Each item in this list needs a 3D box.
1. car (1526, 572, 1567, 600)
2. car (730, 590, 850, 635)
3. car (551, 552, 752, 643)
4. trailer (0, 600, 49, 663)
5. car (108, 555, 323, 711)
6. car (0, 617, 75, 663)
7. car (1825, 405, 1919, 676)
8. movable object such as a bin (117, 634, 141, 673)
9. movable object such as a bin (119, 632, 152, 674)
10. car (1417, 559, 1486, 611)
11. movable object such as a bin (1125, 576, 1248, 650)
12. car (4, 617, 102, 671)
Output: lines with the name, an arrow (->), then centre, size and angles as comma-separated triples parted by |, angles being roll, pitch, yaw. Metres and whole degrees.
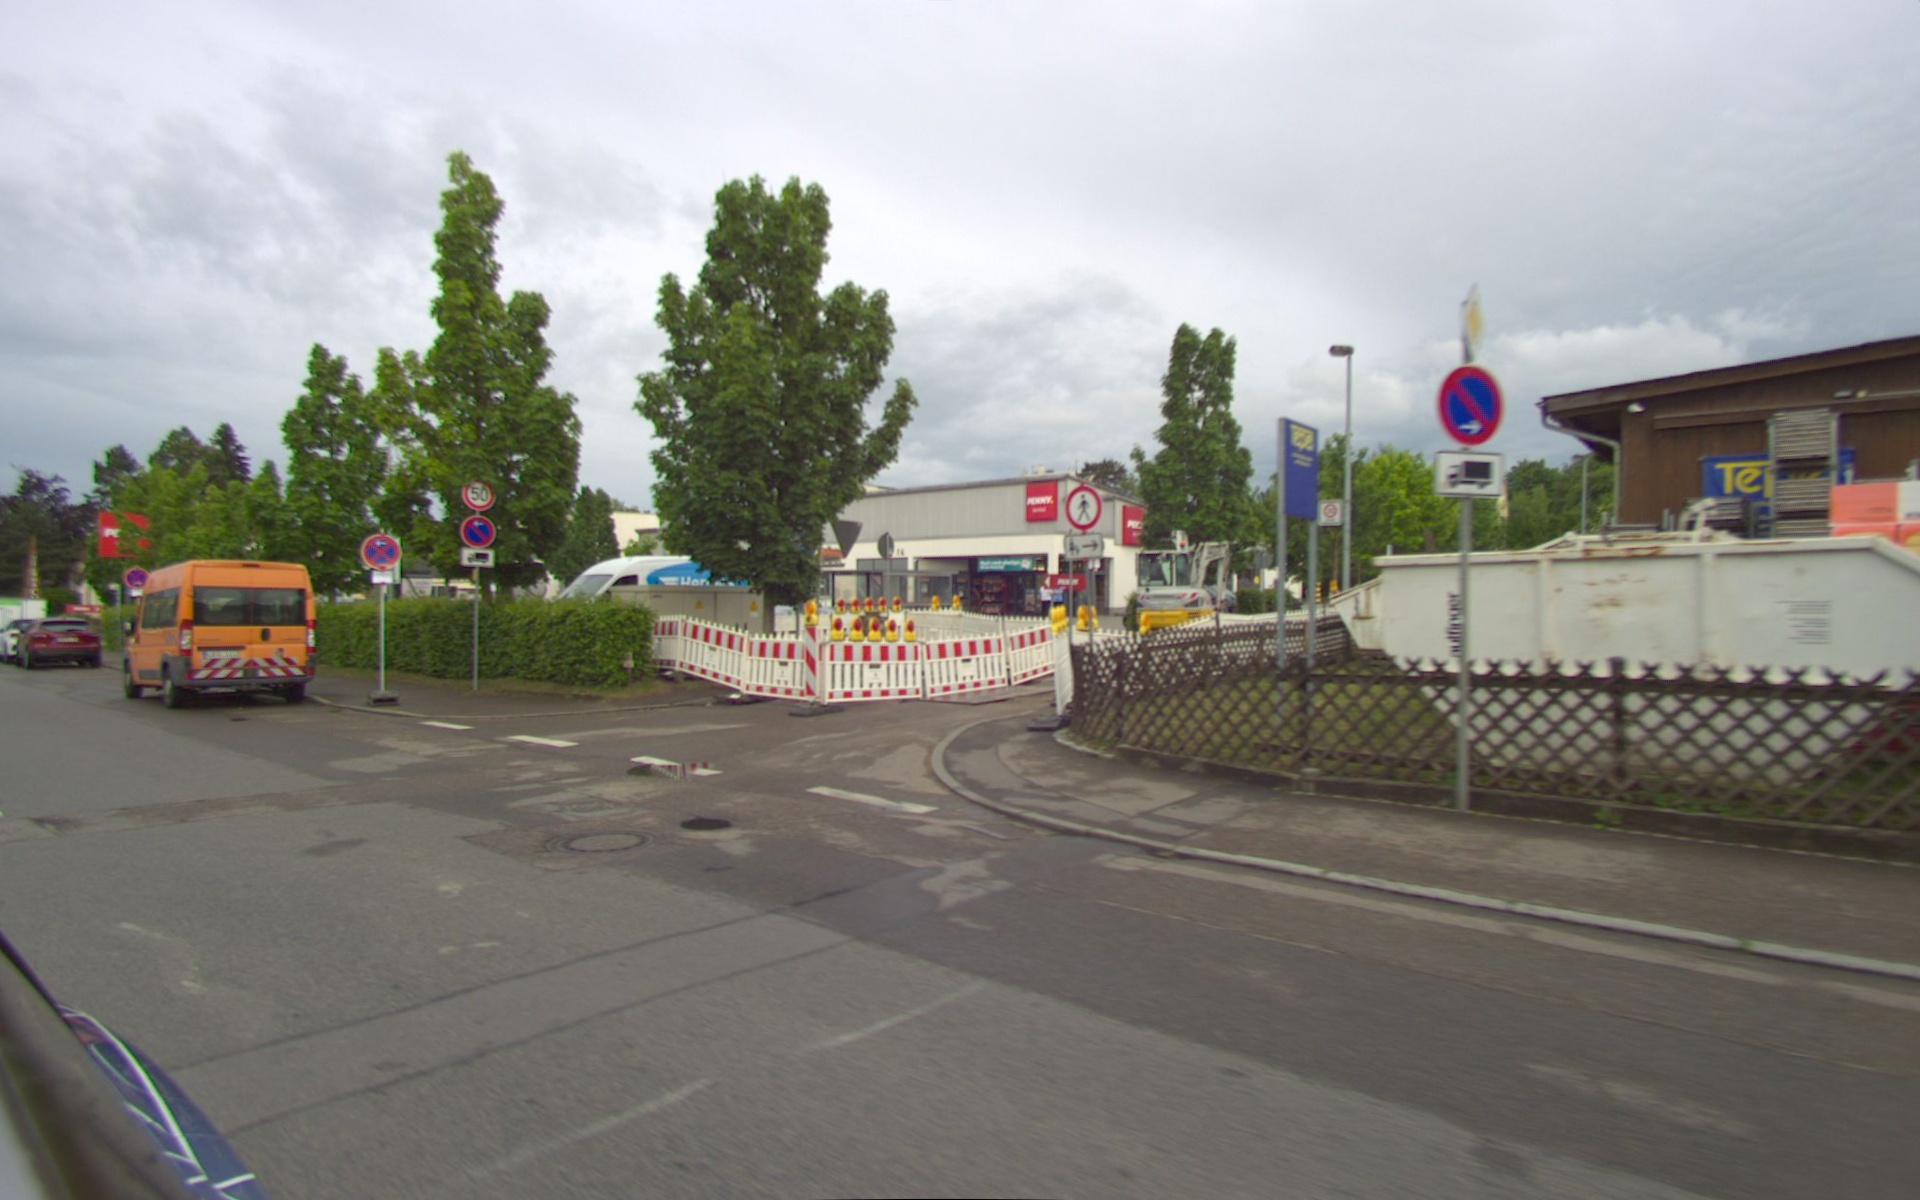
car -> 39.470, -0.947, 68.103 | 1.971, 1.786, 4.185 | 0, 1, 36
car -> -6.199, 0.423, 37.207 | 1.918, 1.488, 4.010 | 0, 1, 43
car -> -7.490, -0.114, 24.867 | 2.062, 2.029, 4.261 | 0, 1, 41
trailer -> -37.593, 1.230, 39.950 | 4.727, 2.331, 1.794 | -1, -3, 41
car -> -14.376, 0.583, 19.362 | 6.019, 2.557, 2.102 | -1, -1, 42
car -> -32.772, 1.384, 35.720 | 4.134, 1.510, 1.754 | -2, -1, 41
car -> 12.796, -0.694, 10.905 | 5.242, 3.036, 2.054 | 0, 1, 42
movable object such as a bin -> -24.463, 1.557, 29.789 | 0.485, 1.090, 0.621 | -2, 1, -44
movable object such as a bin -> -23.892, 1.521, 29.330 | 0.664, 1.166, 0.622 | -2, 1, -44
car -> 22.522, -0.714, 46.260 | 1.971, 2.256, 5.180 | 0, 1, 35
movable object such as a bin -> 5.956, 0.296, 26.407 | 1.995, 1.773, 3.393 | 0, 1, 35
car -> -29.073, 1.365, 32.398 | 4.340, 1.585, 1.786 | -1, -1, 41
